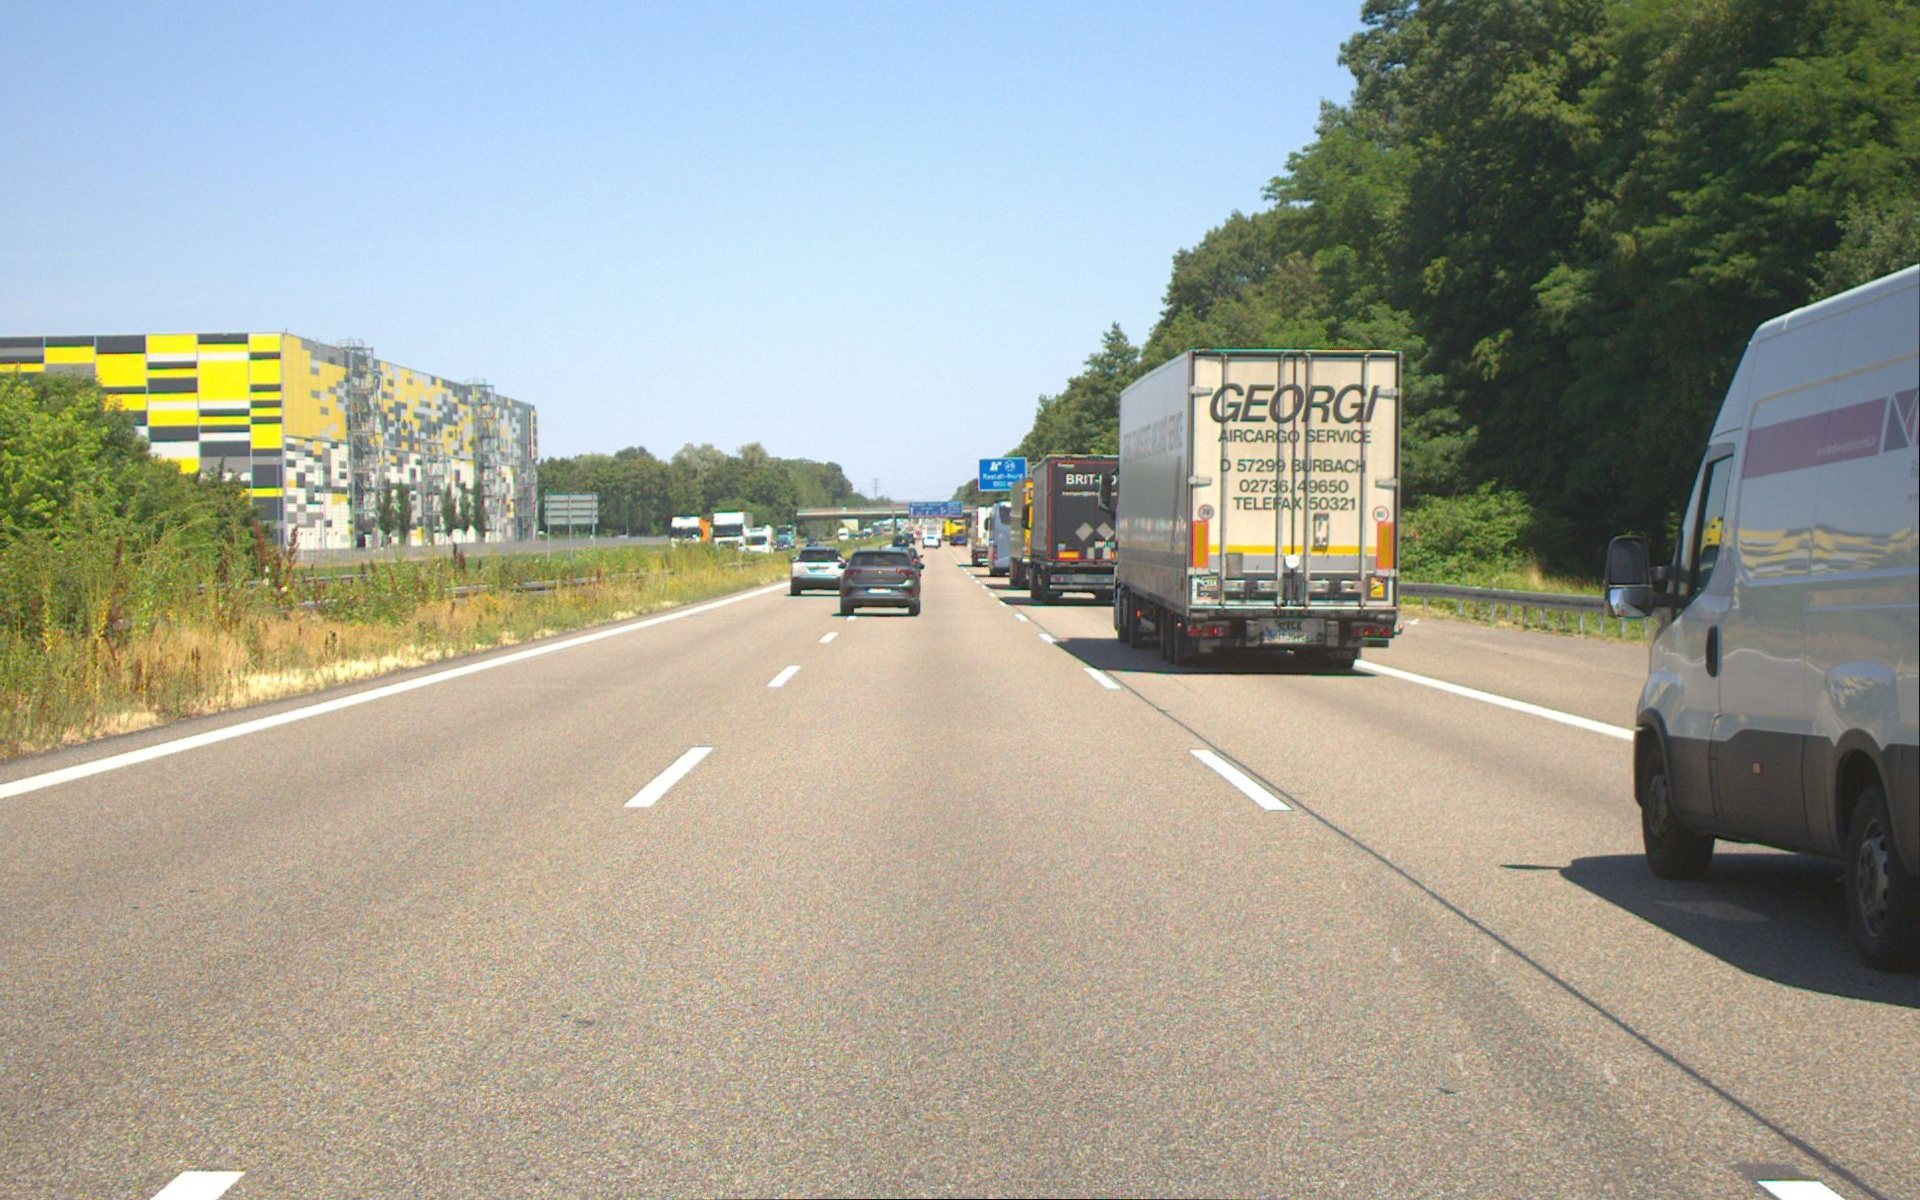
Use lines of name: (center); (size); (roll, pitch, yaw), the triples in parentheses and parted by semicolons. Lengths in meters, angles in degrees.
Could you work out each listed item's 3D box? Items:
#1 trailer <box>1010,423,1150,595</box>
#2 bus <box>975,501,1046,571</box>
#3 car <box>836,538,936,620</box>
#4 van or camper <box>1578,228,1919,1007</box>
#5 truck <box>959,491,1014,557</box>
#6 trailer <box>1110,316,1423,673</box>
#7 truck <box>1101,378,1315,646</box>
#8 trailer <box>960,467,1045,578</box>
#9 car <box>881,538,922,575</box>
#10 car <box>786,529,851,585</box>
trailer: (3.256, -2.513, 97.701); (3.106, 4.491, 14.897); (1, 1, -1)
bus: (2.426, -3.141, 168.858); (3.062, 3.315, 8.275); (-1, 1, -2)
car: (-1.683, -0.512, 79.183); (2.216, 1.784, 5.394); (-1, 1, -1)
van or camper: (4.216, 0.019, 14.215); (2.022, 2.628, 6.488); (1, 1, -1)
truck: (1.723, -4.926, 223.063); (3.423, 4.112, 9.565); (-1, 1, 0)
trailer: (4.003, -1.403, 48.329); (2.993, 4.274, 13.419); (1, 1, -1)
truck: (3.927, -1.397, 55.603); (3.002, 4.110, 5.253); (0, 1, -1)
trailer: (1.512, -2.894, 128.229); (2.834, 3.940, 11.685); (0, 1, -1)
car: (-2.779, -2.070, 163.162); (1.941, 1.700, 4.000); (0, 1, -1)
car: (-4.437, -1.375, 108.318); (1.993, 1.722, 4.131); (0, 1, -1)
